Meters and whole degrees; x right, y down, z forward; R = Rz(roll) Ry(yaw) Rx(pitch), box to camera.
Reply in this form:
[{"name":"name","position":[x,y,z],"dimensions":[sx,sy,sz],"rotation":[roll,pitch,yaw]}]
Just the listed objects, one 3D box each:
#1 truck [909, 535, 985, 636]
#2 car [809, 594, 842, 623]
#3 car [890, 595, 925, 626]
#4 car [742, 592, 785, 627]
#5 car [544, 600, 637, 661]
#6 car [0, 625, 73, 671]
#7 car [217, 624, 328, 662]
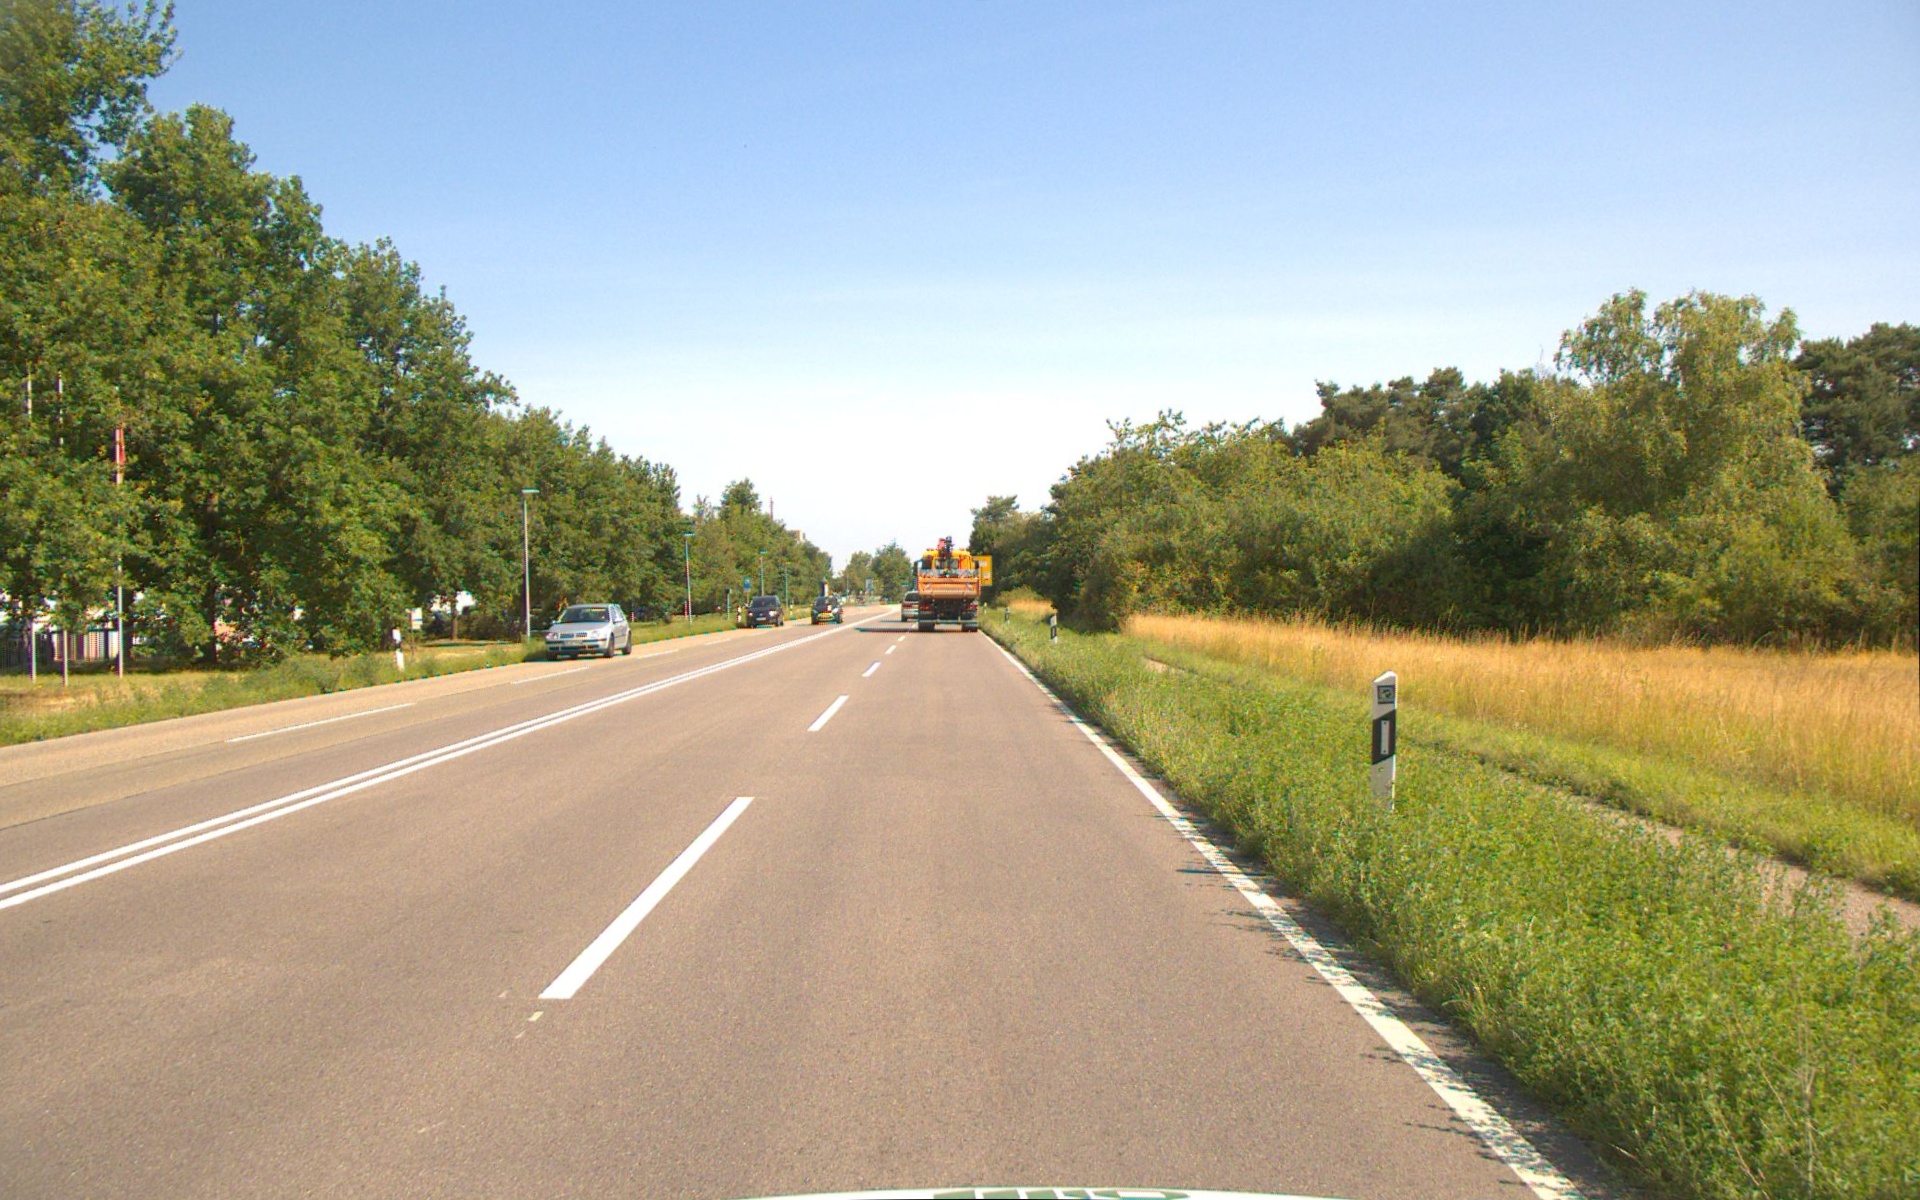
[{"name":"truck","position":[-0.631,-0.581,69.151],"dimensions":[2.814,3.948,7.395],"rotation":[1,0,-3]},{"name":"car","position":[-7.341,0.427,90.653],"dimensions":[1.486,1.475,3.774],"rotation":[-3,0,-1]},{"name":"car","position":[-2.983,0.574,93.356],"dimensions":[1.954,1.611,3.998],"rotation":[-1,0,-3]},{"name":"car","position":[-10.555,0.486,89.047],"dimensions":[1.789,1.700,4.388],"rotation":[-3,0,-2]},{"name":"car","position":[-9.847,0.787,44.340],"dimensions":[1.566,1.467,3.999],"rotation":[-3,0,-1]},{"name":"car","position":[-31.324,1.584,54.583],"dimensions":[1.752,1.373,4.660],"rotation":[-2,0,-3]},{"name":"car","position":[-29.446,1.841,70.932],"dimensions":[3.906,1.328,1.863],"rotation":[-3,0,0]}]
